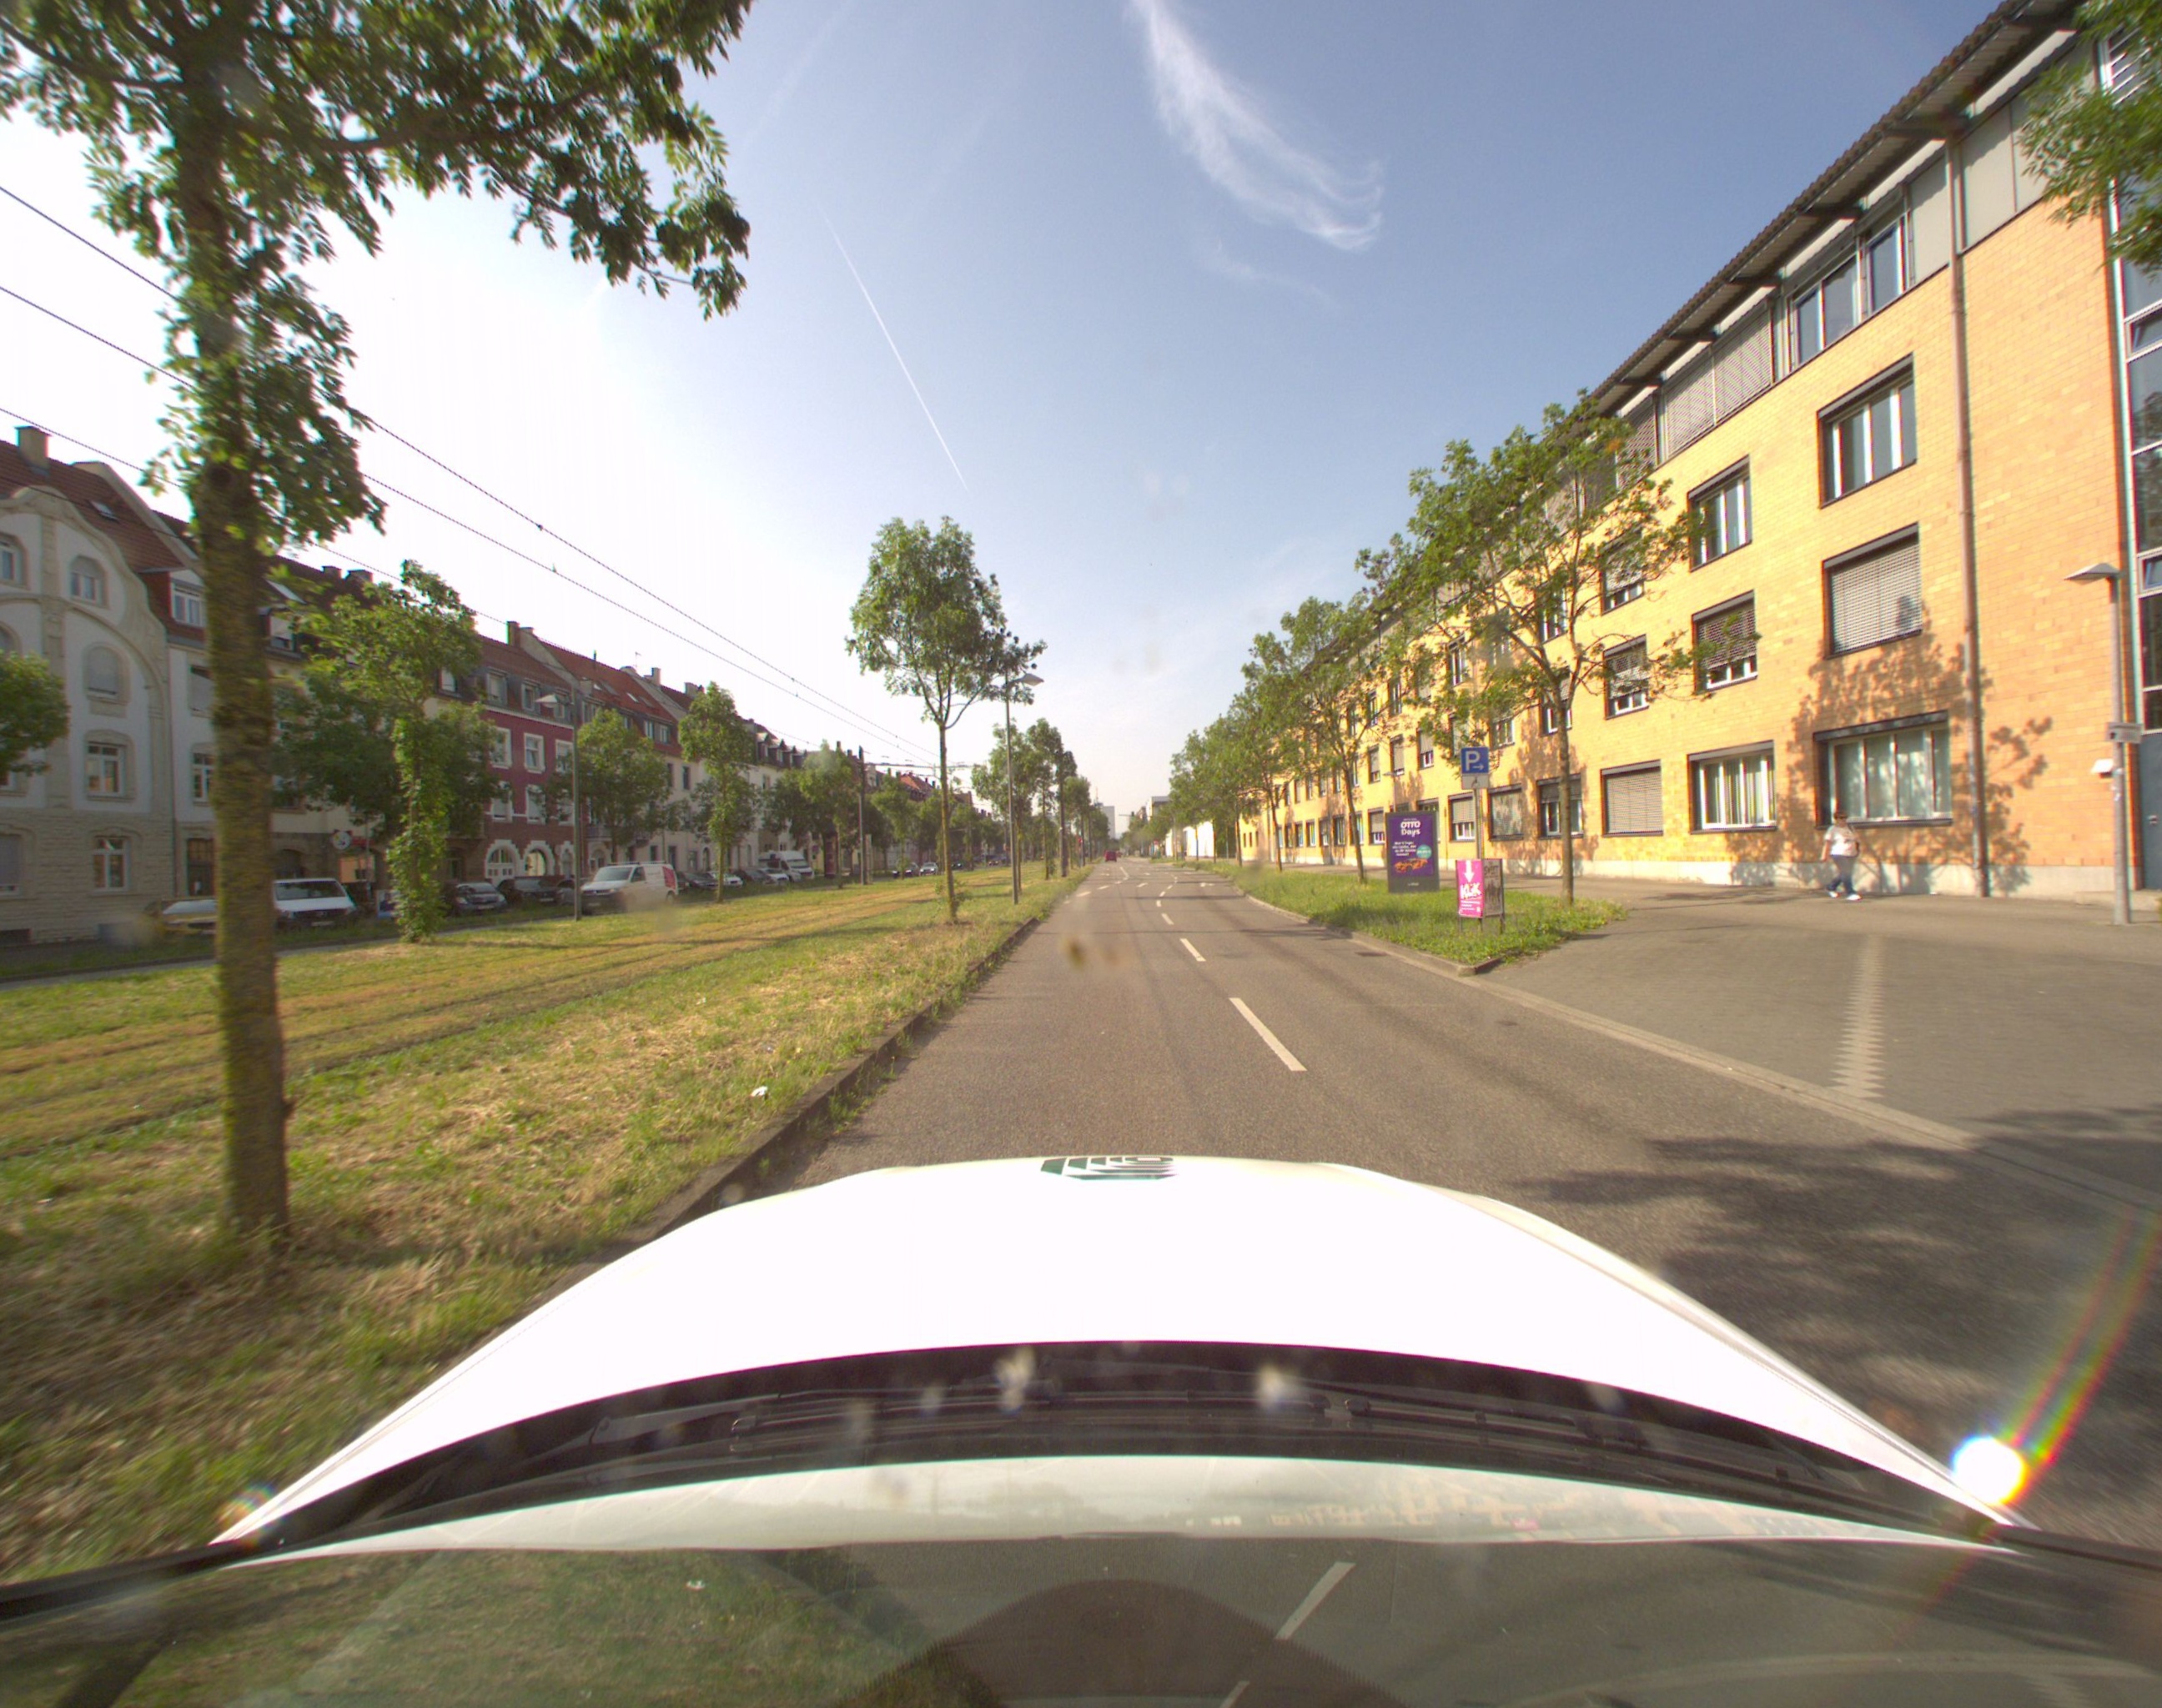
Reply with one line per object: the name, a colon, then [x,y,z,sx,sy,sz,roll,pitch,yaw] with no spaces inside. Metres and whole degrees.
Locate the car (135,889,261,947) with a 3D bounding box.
car: [-25.041,1.736,23.050,4.639,1.348,1.869,0,-1,36]

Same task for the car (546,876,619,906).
car: [-23.571,1.717,38.456,3.639,1.241,1.673,0,-1,36]

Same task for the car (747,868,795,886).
car: [-23.548,1.727,61.891,3.639,1.331,1.673,0,-1,36]

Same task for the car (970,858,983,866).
car: [-21.622,1.638,168.508,1.987,1.628,4.774,0,0,0]

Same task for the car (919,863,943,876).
car: [-17.770,1.797,96.577,1.941,1.459,4.648,0,-1,0]

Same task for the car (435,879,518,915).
car: [-23.907,1.658,32.178,3.639,1.241,1.536,0,2,35]

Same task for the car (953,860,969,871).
car: [-18.029,1.722,122.416,1.757,1.655,4.001,0,-1,2]

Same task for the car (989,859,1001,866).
car: [-16.598,1.635,157.704,1.806,1.433,3.926,0,-1,1]

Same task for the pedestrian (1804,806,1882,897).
pedestrian: [14.287,-0.036,15.290,0.693,1.656,0.773,-1,-1,2]

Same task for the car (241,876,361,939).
car: [-24.588,1.599,25.608,4.888,1.726,1.869,0,-1,36]

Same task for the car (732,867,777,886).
car: [-23.594,1.611,58.864,3.641,1.241,1.672,0,-1,44]

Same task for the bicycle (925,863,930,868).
bicycle: [-25.625,1.966,135.588,0.446,0.857,1.947,0,-1,0]

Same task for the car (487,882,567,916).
car: [-24.061,1.915,35.337,3.639,1.241,1.673,0,2,35]

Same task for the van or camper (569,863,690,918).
van or camper: [-18.637,1.418,33.994,1.944,2.097,5.354,0,-1,1]

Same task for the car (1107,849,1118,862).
car: [5.213,0.279,135.643,1.741,2.014,3.218,0,-1,3]

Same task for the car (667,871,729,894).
car: [-22.782,1.664,48.468,3.639,1.241,1.673,0,-1,33]

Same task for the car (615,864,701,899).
car: [-23.813,1.572,45.845,4.590,1.743,1.845,-3,0,26]

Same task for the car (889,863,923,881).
car: [-17.274,1.749,80.712,1.985,1.630,5.384,0,-1,3]

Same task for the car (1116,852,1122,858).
car: [10.392,0.196,223.669,1.741,1.650,3.218,0,-1,3]

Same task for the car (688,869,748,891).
car: [-22.757,1.609,51.065,3.963,1.316,1.673,0,-1,36]

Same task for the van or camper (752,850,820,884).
van or camper: [-23.642,1.023,65.219,5.849,2.573,2.213,0,-1,36]
